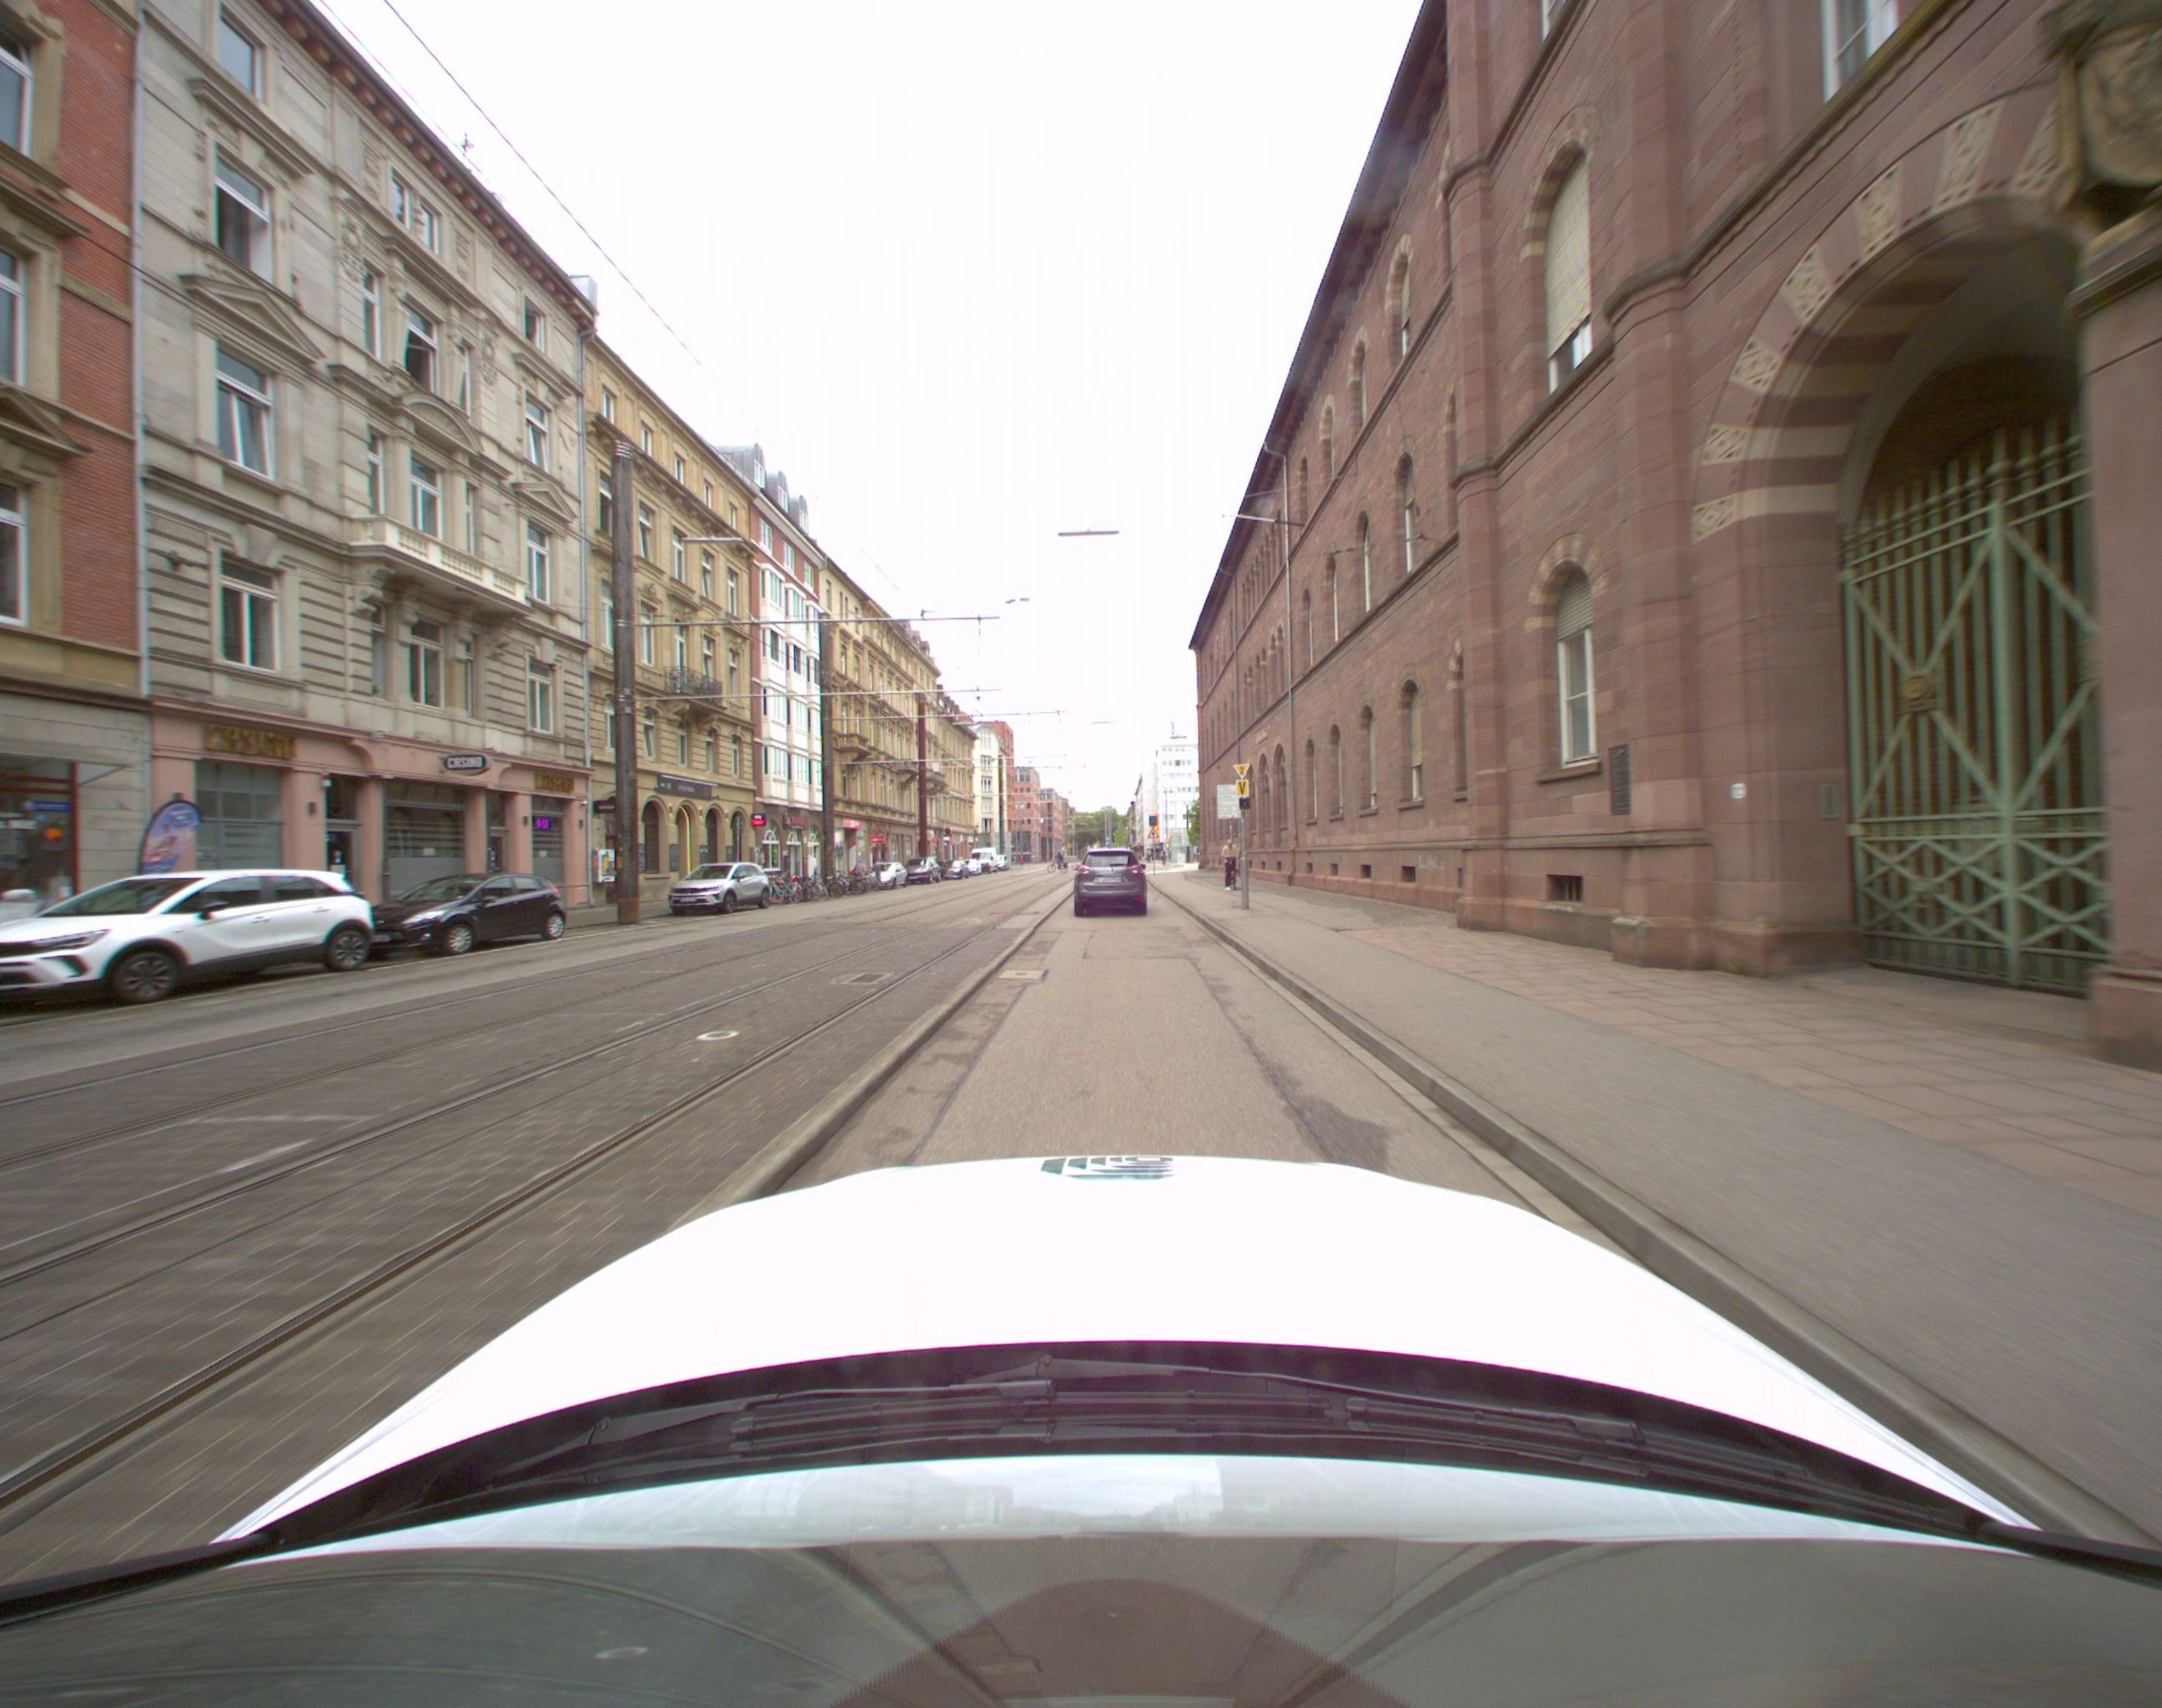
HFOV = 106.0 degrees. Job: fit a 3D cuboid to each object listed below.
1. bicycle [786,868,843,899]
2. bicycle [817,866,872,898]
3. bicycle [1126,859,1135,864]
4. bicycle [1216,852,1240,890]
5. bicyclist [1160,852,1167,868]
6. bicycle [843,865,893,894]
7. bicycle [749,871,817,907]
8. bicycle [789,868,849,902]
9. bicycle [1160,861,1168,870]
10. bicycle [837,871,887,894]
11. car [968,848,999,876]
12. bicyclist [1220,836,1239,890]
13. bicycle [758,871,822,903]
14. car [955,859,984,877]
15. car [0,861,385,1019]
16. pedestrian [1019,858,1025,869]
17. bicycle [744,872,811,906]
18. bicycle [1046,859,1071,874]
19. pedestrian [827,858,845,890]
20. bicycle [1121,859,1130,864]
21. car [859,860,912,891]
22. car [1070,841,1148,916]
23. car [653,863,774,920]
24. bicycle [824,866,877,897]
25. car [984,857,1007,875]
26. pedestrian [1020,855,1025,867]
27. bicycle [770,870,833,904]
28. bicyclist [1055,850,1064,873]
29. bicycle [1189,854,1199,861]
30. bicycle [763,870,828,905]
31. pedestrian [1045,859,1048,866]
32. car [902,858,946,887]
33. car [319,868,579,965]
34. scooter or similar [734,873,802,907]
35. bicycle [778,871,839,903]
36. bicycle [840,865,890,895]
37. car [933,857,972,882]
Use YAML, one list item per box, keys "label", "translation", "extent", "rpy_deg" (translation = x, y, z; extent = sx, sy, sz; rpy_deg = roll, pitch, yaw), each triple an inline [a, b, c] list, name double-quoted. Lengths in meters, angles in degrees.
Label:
- label: "bicycle"
  translation: [-11.282, 1.246, 34.466]
  extent: [2.273, 1.294, 0.448]
  rpy_deg: [1, -1, 2]
- label: "bicycle"
  translation: [-10.988, 1.305, 37.902]
  extent: [2.273, 1.329, 0.667]
  rpy_deg: [-3, -1, 2]
- label: "bicycle"
  translation: [10.477, 1.654, 172.692]
  extent: [1.694, 1.065, 0.436]
  rpy_deg: [0, -1, -7]
- label: "bicycle"
  translation: [5.267, 0.594, 29.211]
  extent: [0.443, 1.276, 2.227]
  rpy_deg: [-3, -1, 2]
- label: "bicyclist"
  translation: [9.638, 0.682, 94.874]
  extent: [0.830, 1.812, 0.878]
  rpy_deg: [0, -1, 4]
- label: "bicycle"
  translation: [-10.806, 1.267, 41.361]
  extent: [2.273, 1.329, 0.667]
  rpy_deg: [-3, -1, 2]
- label: "bicycle"
  translation: [-11.353, 1.323, 31.041]
  extent: [2.273, 1.203, 0.705]
  rpy_deg: [-3, -1, 2]
- label: "bicycle"
  translation: [-11.269, 1.320, 35.083]
  extent: [2.273, 1.329, 0.667]
  rpy_deg: [-3, -1, 2]
- label: "bicycle"
  translation: [9.647, 1.302, 94.929]
  extent: [0.897, 1.045, 3.282]
  rpy_deg: [-1, -1, 5]
- label: "bicycle"
  translation: [-10.763, 1.391, 40.075]
  extent: [2.273, 1.041, 0.620]
  rpy_deg: [-1, -1, 2]
- label: "car"
  translation: [-9.364, 0.775, 78.719]
  extent: [2.045, 2.487, 5.667]
  rpy_deg: [-4, -1, 1]
- label: "bicyclist"
  translation: [5.256, 0.321, 28.841]
  extent: [0.527, 1.858, 0.451]
  rpy_deg: [-2, -1, 1]
- label: "bicycle"
  translation: [-11.303, 1.284, 31.681]
  extent: [2.273, 1.203, 0.540]
  rpy_deg: [0, -2, 2]
- label: "car"
  translation: [-9.672, 1.221, 70.763]
  extent: [1.765, 1.423, 4.165]
  rpy_deg: [-4, 0, 1]
- label: "car"
  translation: [-12.073, 0.987, 10.981]
  extent: [1.737, 1.672, 4.048]
  rpy_deg: [-2, 0, 2]
- label: "pedestrian"
  translation: [-9.060, 1.413, 124.930]
  extent: [0.720, 1.687, 0.660]
  rpy_deg: [-1, -2, -9]
- label: "bicycle"
  translation: [-11.317, 1.303, 30.354]
  extent: [2.273, 1.203, 0.548]
  rpy_deg: [-1, -1, 2]
- label: "bicycle"
  translation: [-1.932, 1.082, 69.117]
  extent: [2.036, 1.174, 0.585]
  rpy_deg: [-3, -1, -7]
- label: "pedestrian"
  translation: [-14.059, 1.136, 46.697]
  extent: [0.646, 1.782, 0.790]
  rpy_deg: [-1, -1, 39]
- label: "bicycle"
  translation: [9.424, 1.552, 173.103]
  extent: [1.865, 1.172, 0.529]
  rpy_deg: [0, -1, -7]
- label: "car"
  translation: [-10.507, 1.143, 44.059]
  extent: [1.737, 1.488, 3.921]
  rpy_deg: [-2, 0, 1]
- label: "car"
  translation: [0.747, 0.583, 21.798]
  extent: [1.856, 1.775, 4.569]
  rpy_deg: [0, 0, 2]
- label: "car"
  translation: [-11.474, 1.104, 25.789]
  extent: [1.737, 1.533, 4.227]
  rpy_deg: [-2, 0, 2]
- label: "bicycle"
  translation: [-10.945, 1.290, 38.730]
  extent: [2.273, 1.329, 0.667]
  rpy_deg: [-3, -1, 2]
- label: "car"
  translation: [-9.288, 1.268, 89.100]
  extent: [1.896, 1.864, 4.520]
  rpy_deg: [-3, -1, 1]
- label: "pedestrian"
  translation: [-8.664, 0.999, 120.621]
  extent: [0.660, 1.687, 0.720]
  rpy_deg: [-1, -2, -10]
- label: "bicycle"
  translation: [-11.338, 1.335, 33.116]
  extent: [2.273, 1.203, 0.667]
  rpy_deg: [-3, -1, 2]
- label: "bicyclist"
  translation: [-1.838, 0.652, 69.146]
  extent: [0.642, 1.883, 1.029]
  rpy_deg: [0, -1, 4]
- label: "bicycle"
  translation: [15.577, 0.475, 112.151]
  extent: [0.651, 0.978, 1.765]
  rpy_deg: [-2, -1, 31]
- label: "bicycle"
  translation: [-11.324, 1.323, 32.340]
  extent: [2.273, 1.203, 0.705]
  rpy_deg: [-3, -1, 2]
- label: "pedestrian"
  translation: [-7.893, 1.977, 187.375]
  extent: [0.450, 1.532, 0.519]
  rpy_deg: [0, -1, -16]
- label: "car"
  translation: [-9.994, 1.115, 52.201]
  extent: [1.808, 1.690, 5.030]
  rpy_deg: [-2, 0, -1]
- label: "car"
  translation: [-11.798, 1.084, 15.606]
  extent: [1.736, 1.488, 3.923]
  rpy_deg: [-2, 0, 3]
- label: "scooter or similar"
  translation: [-11.396, 1.299, 29.720]
  extent: [2.273, 1.203, 0.548]
  rpy_deg: [0, -1, 2]
- label: "bicycle"
  translation: [-11.311, 1.359, 33.830]
  extent: [2.273, 1.203, 0.667]
  rpy_deg: [-3, -1, 2]
- label: "bicycle"
  translation: [-10.787, 1.292, 40.637]
  extent: [2.273, 1.329, 0.521]
  rpy_deg: [-3, -1, 2]
- label: "car"
  translation: [-9.566, 1.147, 60.957]
  extent: [1.913, 1.689, 5.052]
  rpy_deg: [-4, 0, 1]
